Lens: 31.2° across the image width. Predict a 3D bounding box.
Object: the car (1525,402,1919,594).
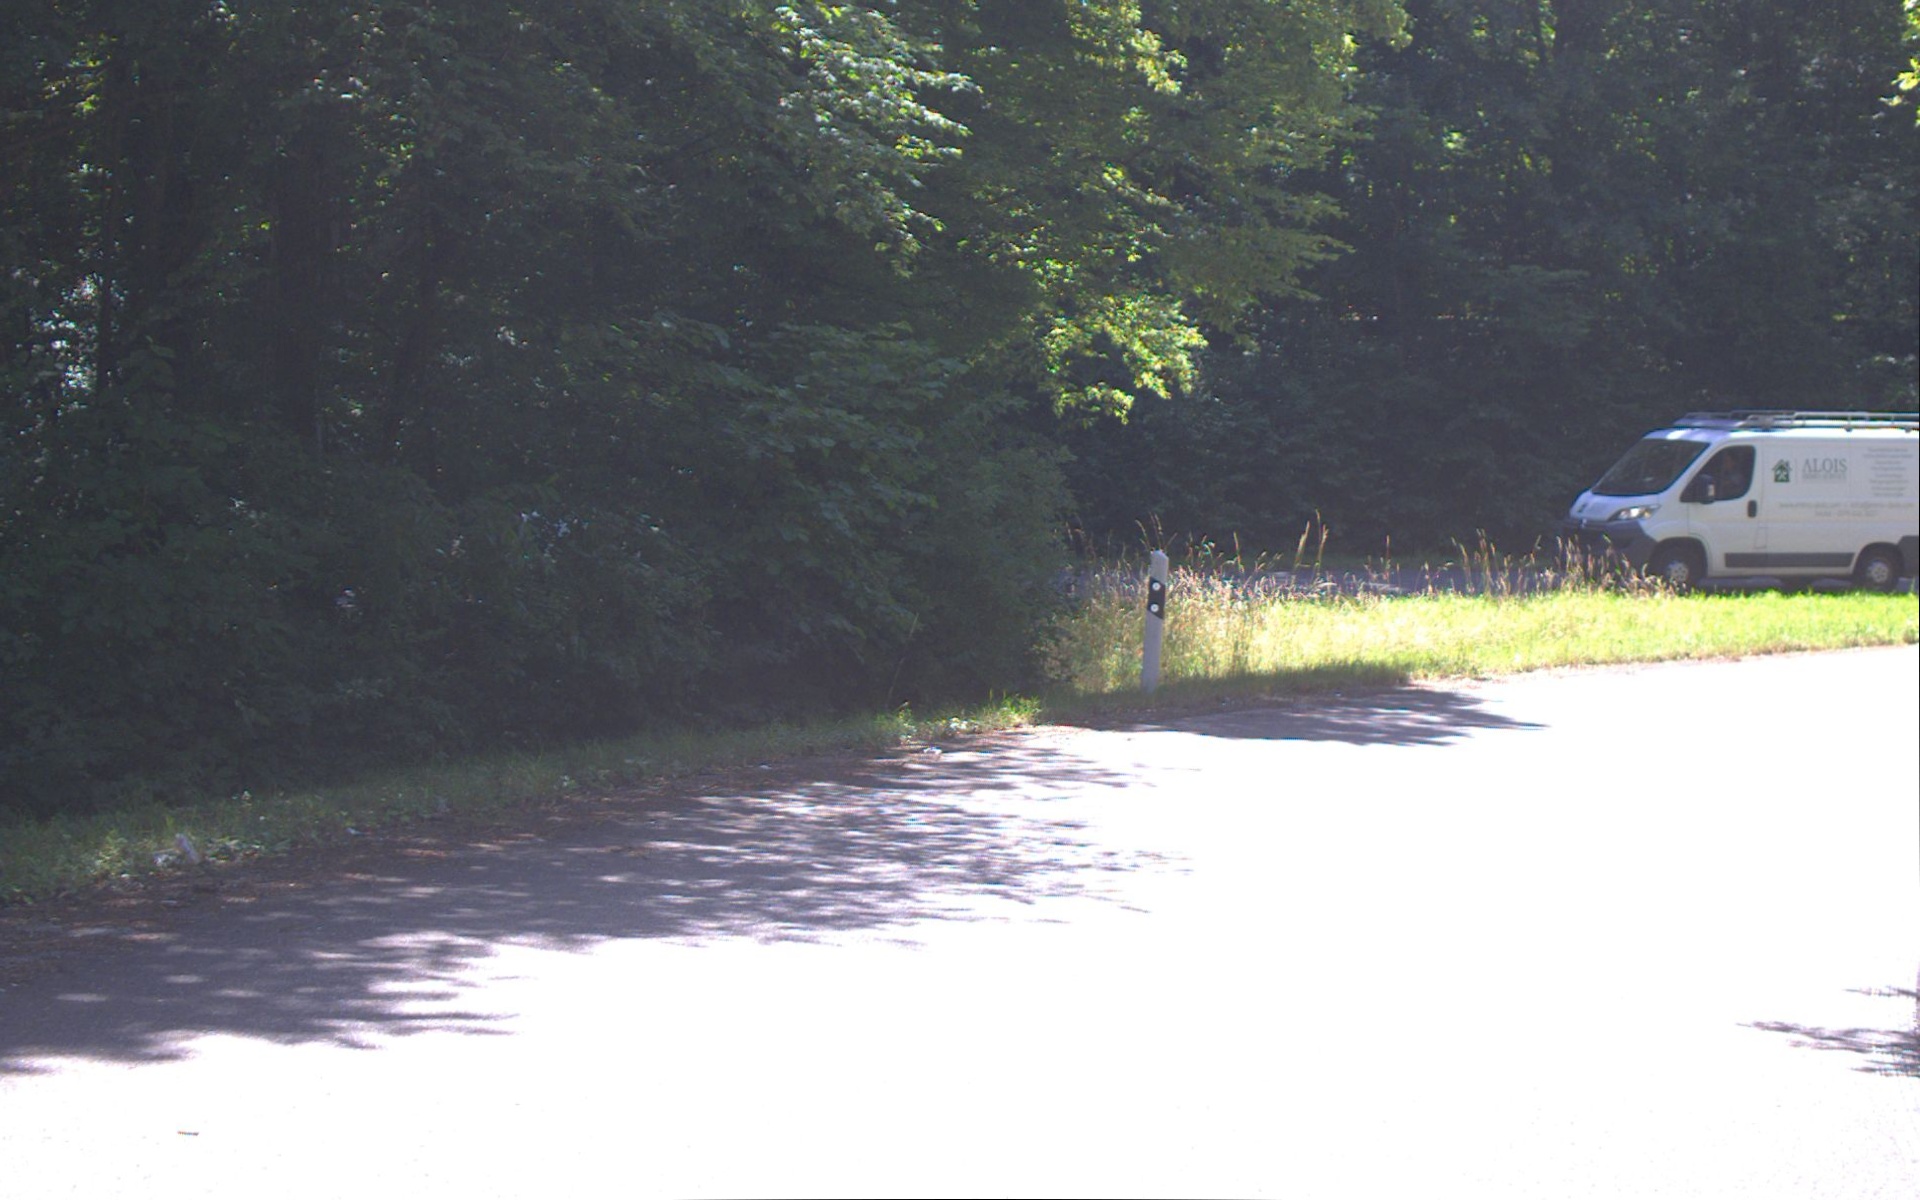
[{"bbox_3d":[10.329,-1.344,44.928,5.407,2.338,2.069,0,5,-19],"label":"car"}]
